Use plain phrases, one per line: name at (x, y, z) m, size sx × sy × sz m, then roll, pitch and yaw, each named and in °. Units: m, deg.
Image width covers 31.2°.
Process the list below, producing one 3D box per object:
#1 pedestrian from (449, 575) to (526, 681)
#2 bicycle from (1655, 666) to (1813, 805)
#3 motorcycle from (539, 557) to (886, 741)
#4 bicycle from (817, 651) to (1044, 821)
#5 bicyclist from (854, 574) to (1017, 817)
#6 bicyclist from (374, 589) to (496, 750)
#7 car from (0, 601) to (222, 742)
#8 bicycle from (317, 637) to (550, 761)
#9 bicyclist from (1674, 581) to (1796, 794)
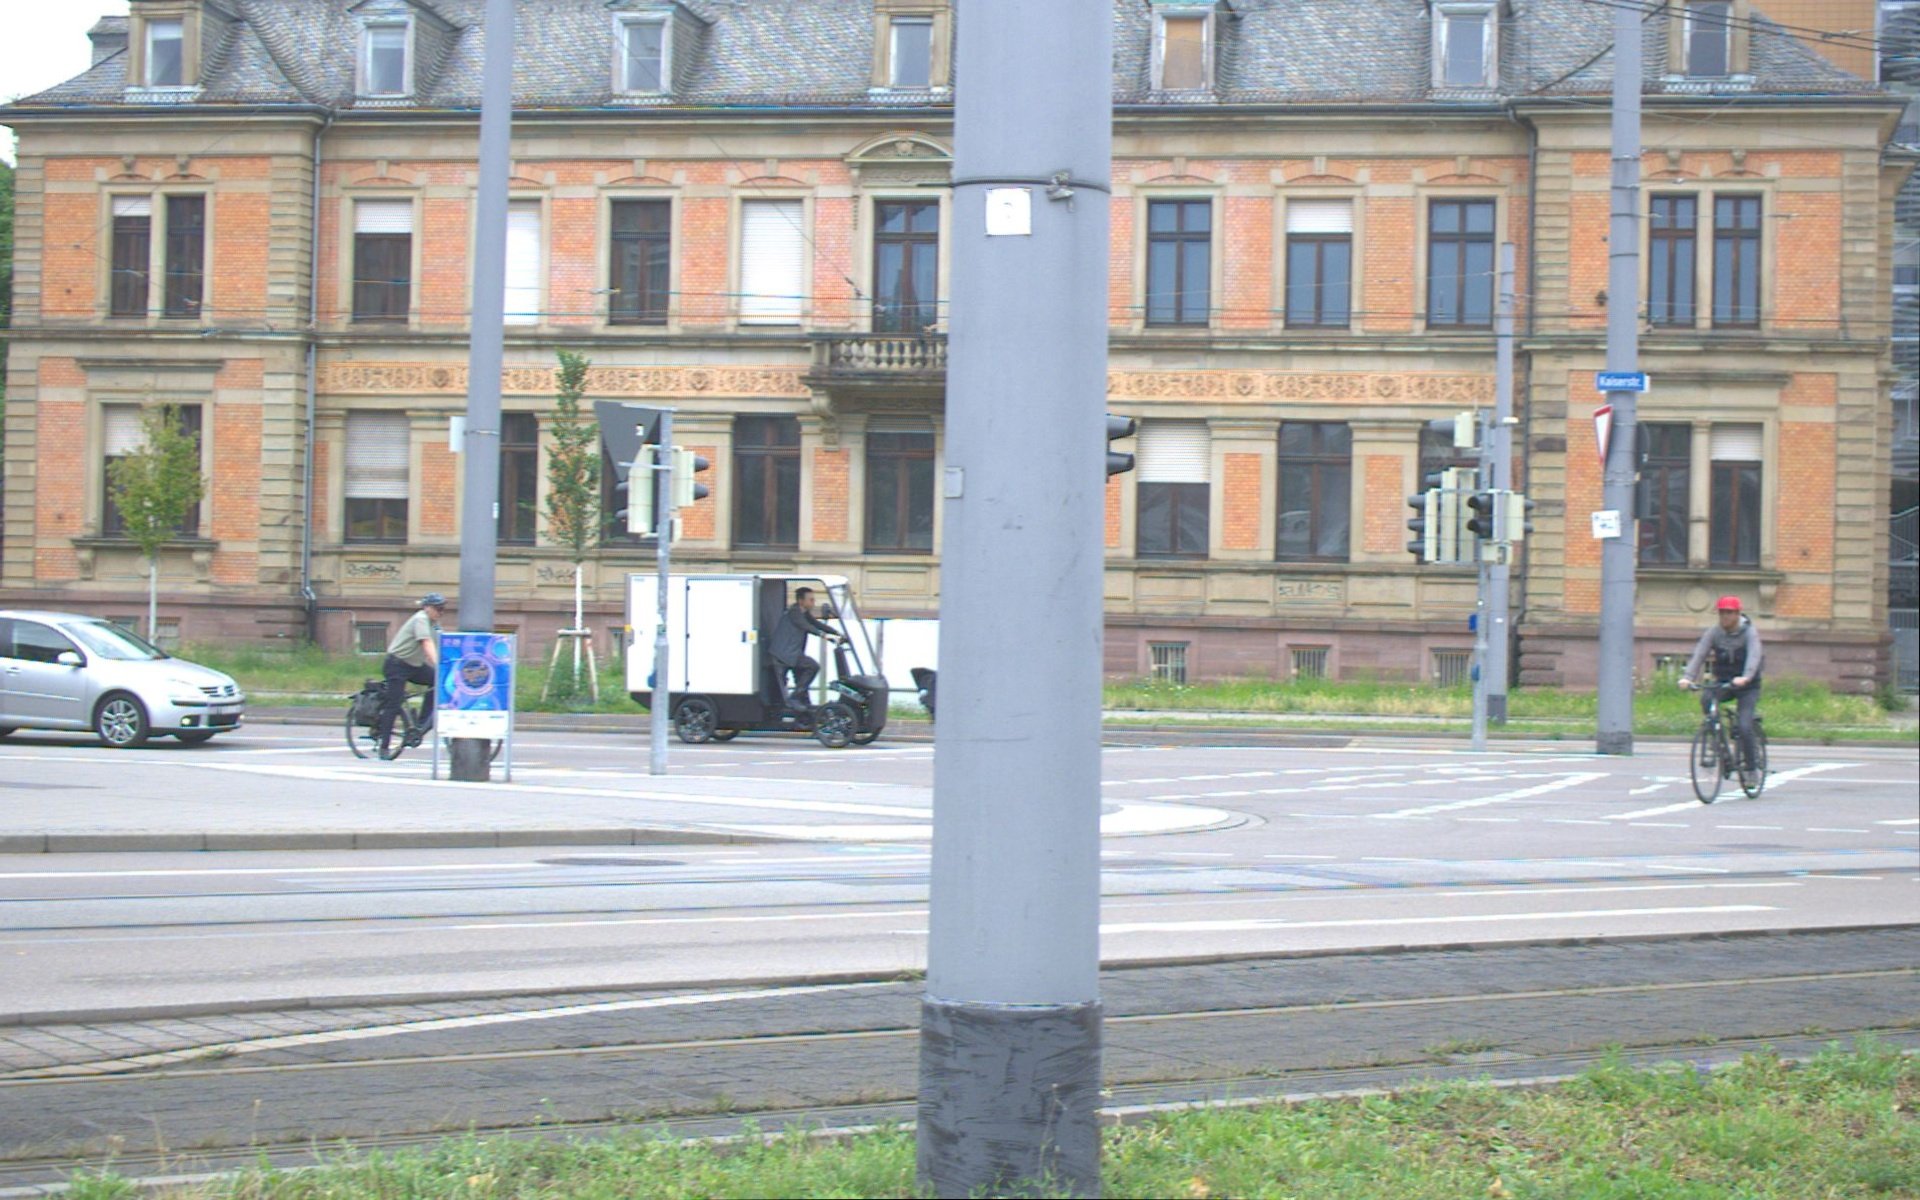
pedestrian at (-8.090, 0.478, 58.878) m, size 1.124 × 1.757 × 0.758 m, roll 2°, pitch 0°, yaw 4°
bicycle at (7.041, 1.206, 31.190) m, size 0.825 × 1.204 × 2.230 m, roll 0°, pitch -1°, yaw 28°
motorcycle at (-2.908, 0.557, 40.581) m, size 3.678 × 2.007 × 1.695 m, roll 2°, pitch 0°, yaw 15°
bicycle at (-0.245, 1.011, 26.203) m, size 0.813 × 1.238 × 2.000 m, roll 1°, pitch -1°, yaw -31°
bicyclist at (-0.189, 0.706, 26.110) m, size 0.813 × 1.792 × 1.029 m, roll 0°, pitch 0°, yaw -31°
bicyclist at (-5.419, 0.720, 35.525) m, size 0.915 × 1.617 × 0.854 m, roll 1°, pitch -1°, yaw 17°
car at (-10.550, 0.756, 38.470) m, size 4.151 × 1.449 × 1.760 m, roll 2°, pitch 0°, yaw 20°
bicycle at (-5.434, 1.014, 35.518) m, size 2.192 × 1.204 × 0.856 m, roll 1°, pitch -1°, yaw 17°
bicyclist at (7.029, 0.783, 31.166) m, size 0.830 × 1.885 × 1.047 m, roll 0°, pitch -1°, yaw 27°
